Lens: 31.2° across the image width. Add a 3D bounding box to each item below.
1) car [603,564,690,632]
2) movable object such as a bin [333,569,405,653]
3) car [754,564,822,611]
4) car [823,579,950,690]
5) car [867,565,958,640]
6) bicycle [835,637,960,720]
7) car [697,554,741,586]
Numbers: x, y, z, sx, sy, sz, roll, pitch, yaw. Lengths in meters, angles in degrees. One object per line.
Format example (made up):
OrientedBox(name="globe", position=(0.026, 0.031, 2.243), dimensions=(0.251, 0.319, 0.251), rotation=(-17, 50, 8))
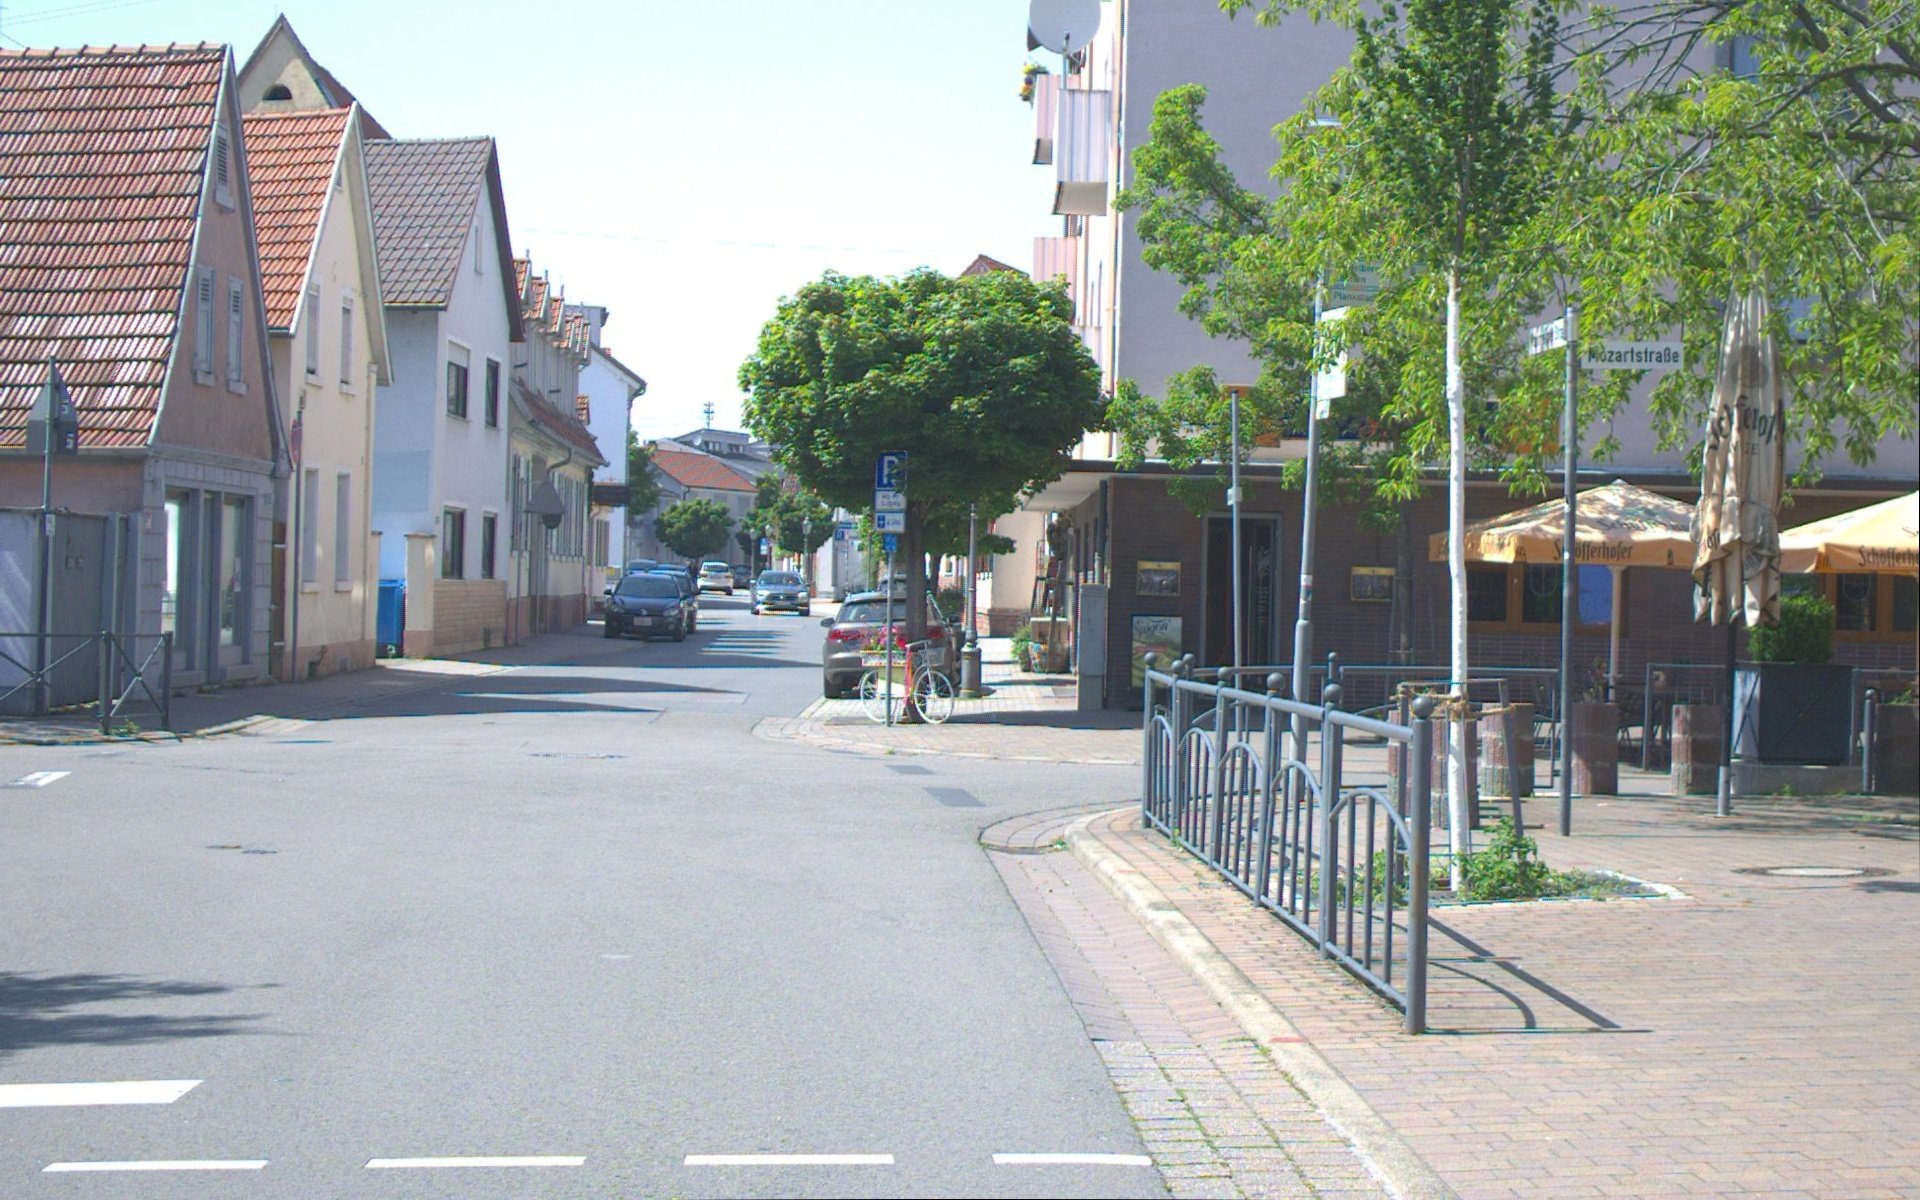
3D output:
OrientedBox(name="car", position=(-7.104, -0.061, 78.112), dimensions=(1.663, 1.471, 4.135), rotation=(1, 0, -1))
OrientedBox(name="movable object such as a bin", position=(-9.746, 0.177, 56.691), dimensions=(1.102, 1.361, 0.390), rotation=(1, 0, 3))
OrientedBox(name="car", position=(-5.714, -0.401, 113.500), dimensions=(1.909, 1.476, 4.845), rotation=(1, 0, -7))
OrientedBox(name="car", position=(-0.975, 0.450, 47.112), dimensions=(1.576, 1.449, 3.486), rotation=(1, 0, 1))
OrientedBox(name="car", position=(-1.107, 0.039, 80.980), dimensions=(2.043, 1.683, 4.842), rotation=(1, 0, -1))
OrientedBox(name="bicycle", position=(-0.704, 0.873, 38.489), dimensions=(1.412, 0.894, 0.464), rotation=(0, 1, 36))
OrientedBox(name="car", position=(-12.183, -1.508, 174.210), dimensions=(2.027, 1.592, 4.509), rotation=(1, 0, -2))
